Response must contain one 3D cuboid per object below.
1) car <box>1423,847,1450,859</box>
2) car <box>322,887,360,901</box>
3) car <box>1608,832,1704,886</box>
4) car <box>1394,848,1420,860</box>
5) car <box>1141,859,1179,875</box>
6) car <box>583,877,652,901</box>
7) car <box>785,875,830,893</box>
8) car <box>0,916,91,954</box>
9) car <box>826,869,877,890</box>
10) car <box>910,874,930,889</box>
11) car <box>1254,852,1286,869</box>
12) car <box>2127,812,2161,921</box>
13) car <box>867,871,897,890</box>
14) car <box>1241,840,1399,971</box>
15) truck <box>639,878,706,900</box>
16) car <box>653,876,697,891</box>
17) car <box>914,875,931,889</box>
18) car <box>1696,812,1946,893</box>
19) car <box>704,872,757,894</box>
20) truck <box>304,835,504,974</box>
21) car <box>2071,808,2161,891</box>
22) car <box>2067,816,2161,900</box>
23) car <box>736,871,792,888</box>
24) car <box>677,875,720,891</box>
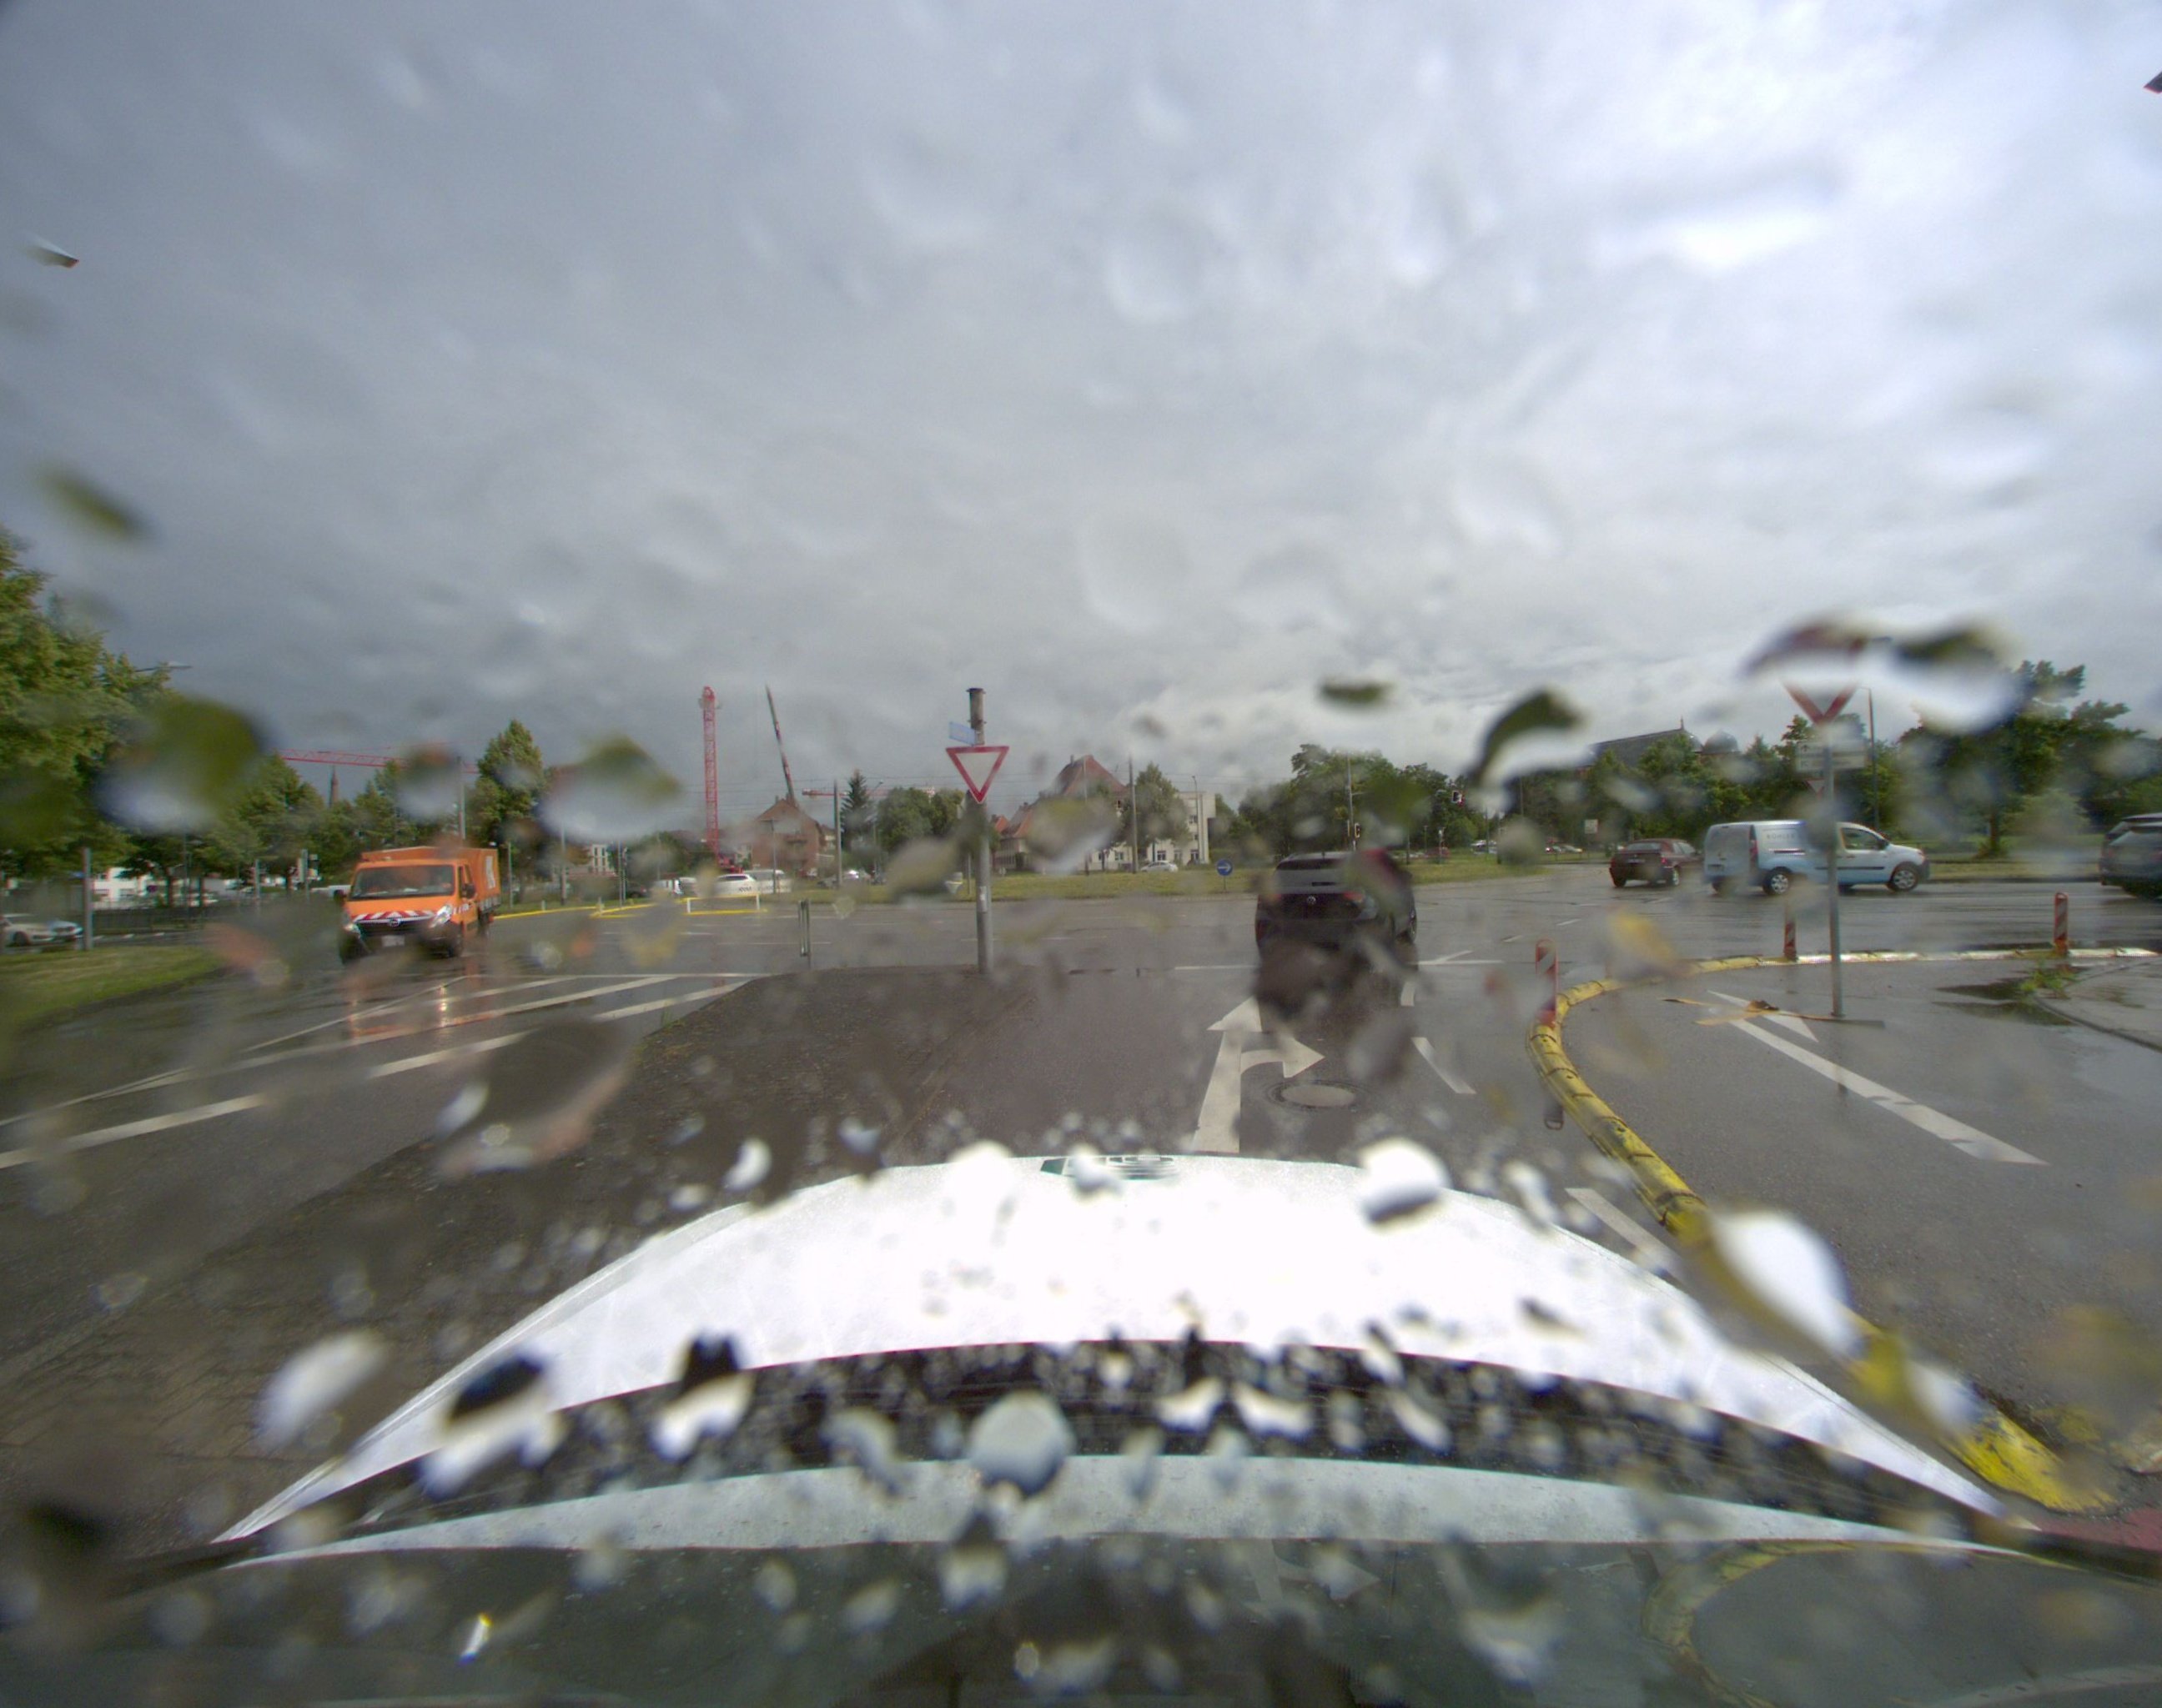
[{"bbox_3d":[50.195,-0.163,115.130,1.646,1.510,3.635,-2,-1,-11],"label":"car"},{"bbox_3d":[-95.544,5.118,105.146,3.474,1.560,1.551,-2,0,3],"label":"car"},{"bbox_3d":[17.826,0.117,25.193,4.024,1.462,1.699,-3,0,-45],"label":"car"},{"bbox_3d":[45.405,-0.021,113.499,1.642,1.462,3.593,-2,-1,-14],"label":"car"},{"bbox_3d":[8.023,1.289,82.681,3.455,1.454,1.560,-3,0,31],"label":"car"},{"bbox_3d":[-33.094,2.477,58.278,4.003,1.517,1.790,-2,0,-22],"label":"car"},{"bbox_3d":[-28.346,3.075,84.431,1.974,1.684,4.026,-2,0,36],"label":"car"},{"bbox_3d":[-48.251,3.738,37.306,3.874,1.508,1.729,-3,0,4],"label":"car"},{"bbox_3d":[-18.750,2.075,66.602,3.698,1.560,1.555,-2,0,-43],"label":"car"},{"bbox_3d":[-17.683,2.999,89.533,1.541,1.560,3.498,-2,-1,-1],"label":"car"},{"bbox_3d":[25.075,0.902,108.118,2.109,2.057,5.138,-3,0,-13],"label":"car"},{"bbox_3d":[18.426,0.098,11.348,4.451,1.657,1.883,-3,0,16],"label":"car"},{"bbox_3d":[-18.584,2.438,76.097,1.786,1.585,3.998,-2,0,-1],"label":"car"},{"bbox_3d":[3.715,0.651,12.300,1.881,1.617,4.020,-2,0,20],"label":"car"},{"bbox_3d":[-43.294,3.664,86.341,6.041,2.212,2.405,0,-1,11],"label":"truck"},{"bbox_3d":[-45.509,3.309,91.267,3.971,1.700,1.859,0,-2,2],"label":"car"},{"bbox_3d":[-19.194,3.376,98.803,1.593,1.560,3.542,-2,0,-6],"label":"car"},{"bbox_3d":[18.244,-0.041,20.222,4.523,1.762,1.867,-2,0,-1],"label":"car"},{"bbox_3d":[-26.154,2.147,60.832,3.508,1.510,1.486,-2,0,-28],"label":"car"},{"bbox_3d":[-16.036,1.071,19.823,2.469,2.726,6.879,-2,0,-29],"label":"truck"},{"bbox_3d":[25.400,-0.190,17.802,4.271,1.757,2.053,-3,0,21],"label":"car"},{"bbox_3d":[21.891,-0.005,15.241,3.952,1.528,1.820,-2,0,21],"label":"car"},{"bbox_3d":[-38.782,3.146,99.783,6.204,2.085,2.049,0,-1,11],"label":"car"},{"bbox_3d":[-43.846,3.328,93.431,3.966,1.700,1.933,0,-1,7],"label":"car"}]
